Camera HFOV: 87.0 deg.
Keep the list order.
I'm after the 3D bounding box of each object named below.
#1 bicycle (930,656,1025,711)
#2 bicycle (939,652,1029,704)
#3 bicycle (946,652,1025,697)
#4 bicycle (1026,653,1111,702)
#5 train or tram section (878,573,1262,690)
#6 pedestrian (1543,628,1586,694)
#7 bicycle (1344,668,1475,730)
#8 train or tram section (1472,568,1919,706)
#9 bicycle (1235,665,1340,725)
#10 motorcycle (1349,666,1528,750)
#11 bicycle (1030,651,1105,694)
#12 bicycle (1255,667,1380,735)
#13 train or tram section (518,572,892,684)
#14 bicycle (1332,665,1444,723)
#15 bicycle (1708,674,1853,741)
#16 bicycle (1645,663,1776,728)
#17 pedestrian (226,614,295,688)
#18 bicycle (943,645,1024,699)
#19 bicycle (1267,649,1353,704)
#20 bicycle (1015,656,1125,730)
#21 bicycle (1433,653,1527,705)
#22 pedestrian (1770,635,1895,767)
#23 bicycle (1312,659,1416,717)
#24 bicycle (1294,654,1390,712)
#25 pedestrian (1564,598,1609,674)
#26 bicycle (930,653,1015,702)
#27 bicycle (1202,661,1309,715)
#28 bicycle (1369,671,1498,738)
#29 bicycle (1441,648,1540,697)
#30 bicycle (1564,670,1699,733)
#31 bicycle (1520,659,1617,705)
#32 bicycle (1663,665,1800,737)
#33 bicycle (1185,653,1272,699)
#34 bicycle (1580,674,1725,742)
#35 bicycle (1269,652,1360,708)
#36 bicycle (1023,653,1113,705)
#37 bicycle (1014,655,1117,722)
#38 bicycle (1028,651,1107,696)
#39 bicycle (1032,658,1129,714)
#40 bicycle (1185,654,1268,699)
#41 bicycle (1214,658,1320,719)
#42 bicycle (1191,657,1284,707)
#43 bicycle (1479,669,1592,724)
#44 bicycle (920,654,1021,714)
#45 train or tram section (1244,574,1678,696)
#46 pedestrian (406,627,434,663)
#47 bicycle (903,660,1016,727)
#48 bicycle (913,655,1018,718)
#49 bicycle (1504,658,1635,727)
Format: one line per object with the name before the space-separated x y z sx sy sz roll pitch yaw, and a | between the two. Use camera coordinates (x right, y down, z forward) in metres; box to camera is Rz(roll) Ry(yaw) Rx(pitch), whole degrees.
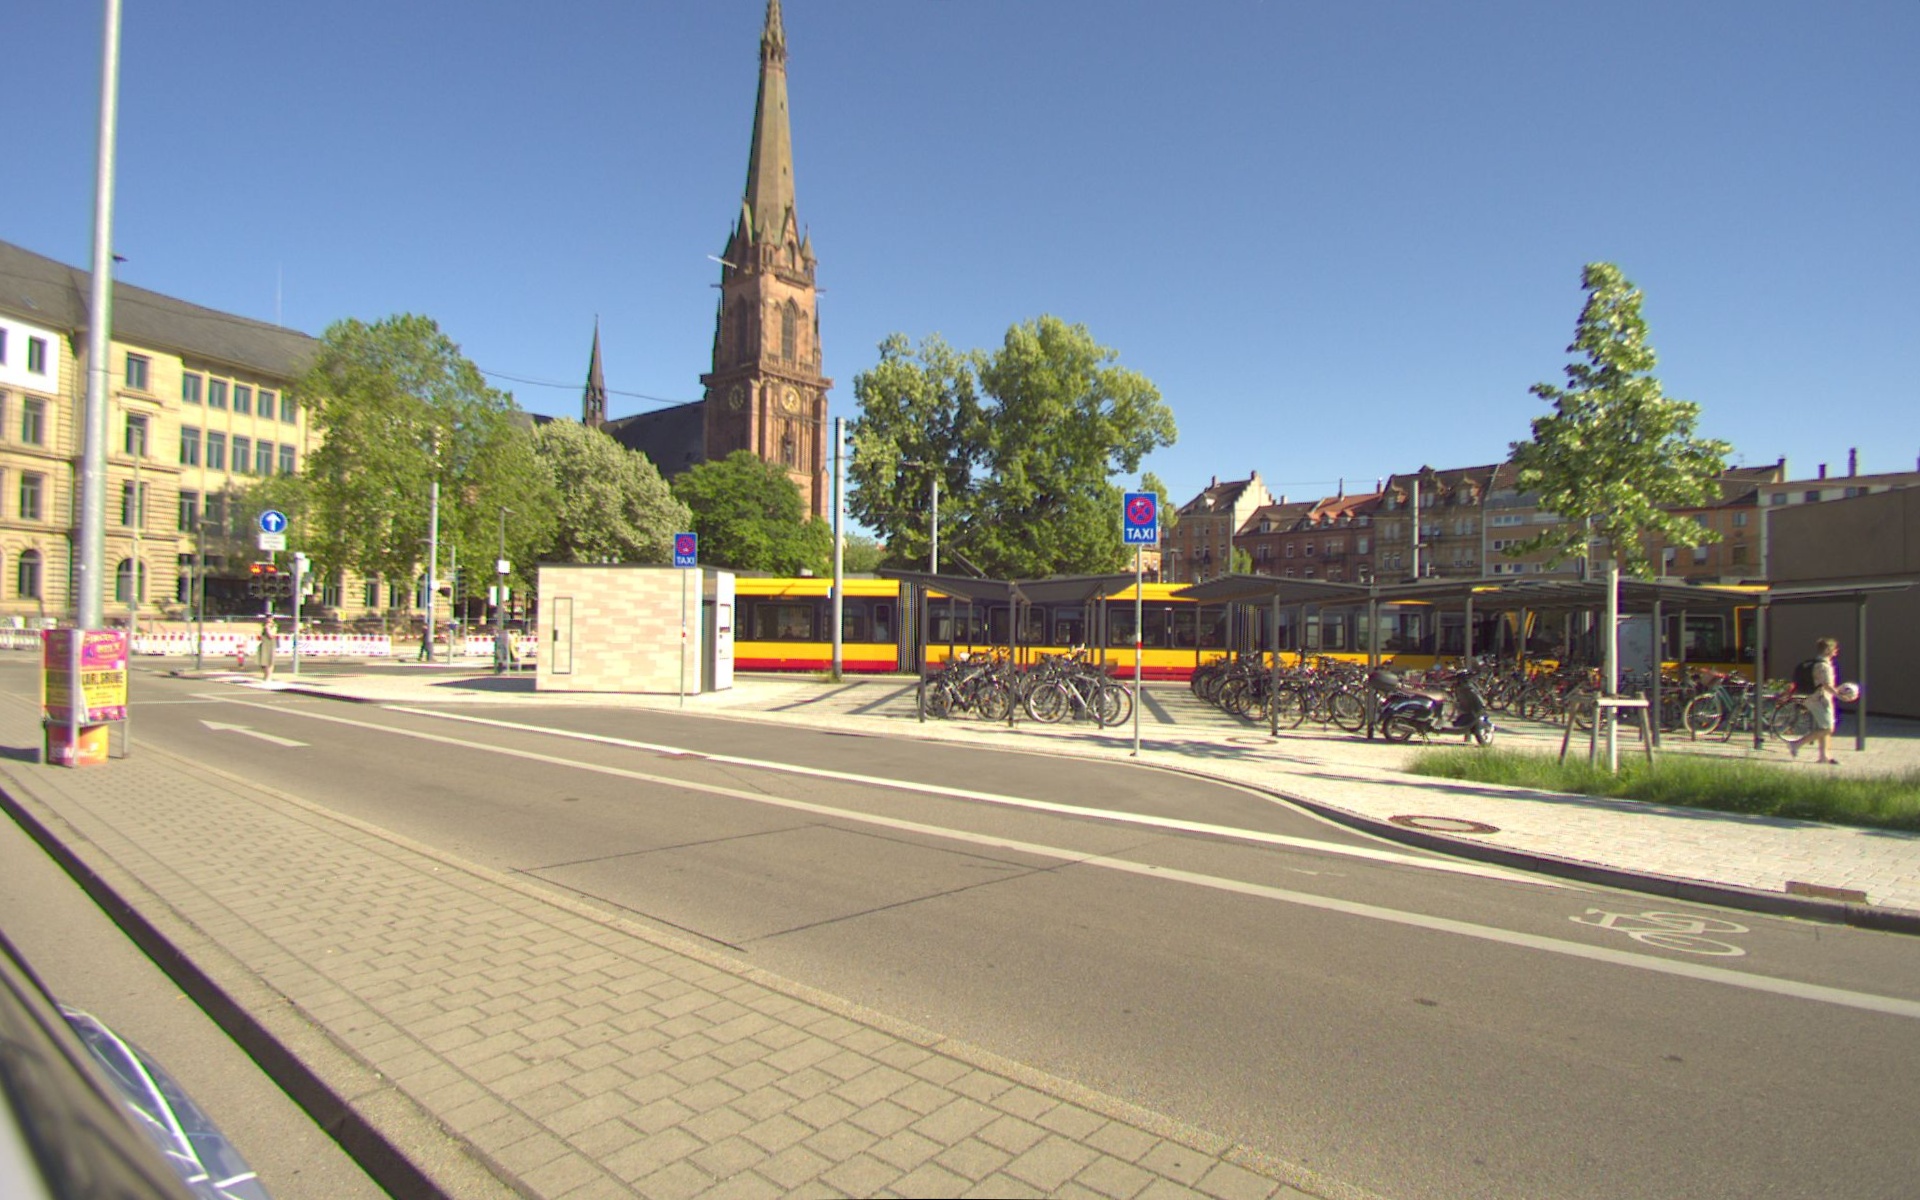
bicycle | 0.355 1.640 19.986 1.809 1.015 0.627 0 -2 9
bicycle | 0.507 1.620 21.141 1.809 1.015 0.627 0 -2 9
bicycle | 0.614 1.755 24.116 1.809 1.015 0.627 0 -2 9
bicycle | 2.371 1.692 22.124 1.808 1.015 0.627 0 -2 7
train or tram section | 3.524 1.002 33.773 12.174 3.628 2.796 0 -2 6
pedestrian | 15.689 1.568 26.279 0.762 1.672 0.604 0 -2 4
bicycle | 7.913 1.735 17.878 2.003 1.015 0.627 0 -2 7
train or tram section | 21.508 1.000 28.690 12.179 3.628 2.748 0 -2 7
bicycle | 5.847 1.690 18.133 1.731 1.015 0.547 0 -2 10
motorcycle | 7.162 1.608 15.235 2.333 1.167 0.610 0 -2 7
bicycle | 2.626 1.763 24.810 1.808 1.015 0.627 0 -2 7
bicycle | 5.971 1.681 16.980 1.871 1.050 0.688 0 -2 9
train or tram section | -8.686 0.941 35.059 12.382 3.628 2.796 0 -2 6
bicycle | 7.994 1.753 18.972 1.808 1.015 0.627 0 -2 7
bicycle | 13.014 1.700 16.078 1.803 1.015 0.629 1 -2 -3
bicycle | 13.584 1.721 18.361 1.808 1.101 0.627 0 -2 7
pedestrian | -18.256 1.324 26.436 0.821 1.869 1.221 0 -2 20
bicycle | 0.556 1.652 23.416 1.809 1.188 0.627 0 -2 9
bicycle | 8.230 1.790 23.877 1.808 1.242 0.627 0 -2 7
bicycle | 1.859 1.560 17.135 1.808 1.167 0.627 1 -2 7
bicycle | 11.995 1.819 23.404 1.809 1.140 0.627 0 -2 9
pedestrian | 11.924 1.346 13.874 1.016 1.718 0.834 0 -2 18
bicycle | 8.068 1.752 20.263 1.808 1.088 0.627 0 -2 7
bicycle | 8.105 1.751 21.529 1.808 1.170 0.627 0 -2 7
pedestrian | 15.738 0.905 25.419 0.700 1.869 0.751 2 -2 -38
bicycle | 0.283 1.695 22.172 1.809 1.015 0.627 0 -2 9
bicycle | 5.943 1.765 20.432 1.978 1.015 0.628 0 -2 4
bicycle | 7.762 1.709 16.652 1.808 1.015 0.627 0 -2 7
bicycle | 11.681 1.582 22.308 1.809 1.015 0.627 0 -2 9
bicycle | 11.597 1.747 17.527 1.872 1.004 0.499 0 -2 13
bicycle | 14.047 1.886 23.407 1.808 1.015 0.627 0 -2 7
bicycle | 12.985 1.693 17.066 1.805 1.155 0.629 0 -2 0
bicycle | 6.115 1.726 23.112 1.807 1.015 0.628 0 -2 5
bicycle | 11.153 1.727 16.350 1.809 1.015 0.627 0 -2 9
bicycle | 7.922 1.772 22.680 1.808 1.198 0.647 0 -2 7
bicycle | 2.223 1.614 20.850 1.808 1.015 0.627 0 -2 7
bicycle | 1.903 1.582 18.277 1.808 1.157 0.627 0 -2 7
bicycle | 2.504 1.707 23.610 1.808 1.015 0.627 0 -2 7
bicycle | 2.315 1.640 19.542 1.808 1.015 0.745 0 -2 7
bicycle | 6.245 1.790 23.800 1.808 1.015 0.627 0 -2 6
bicycle | 5.870 1.687 19.411 1.859 1.101 0.626 0 -2 8
bicycle | 5.963 1.762 21.807 1.805 1.015 0.629 0 -2 0
bicycle | 11.256 1.878 19.842 1.809 1.015 0.627 0 -2 9
bicycle | 0.207 1.548 18.766 1.809 1.059 0.571 0 -2 9
train or tram section | 15.644 1.083 32.494 12.174 3.628 2.828 0 -2 6
pedestrian | -26.448 2.195 49.577 0.923 1.754 0.805 0 -2 5
bicycle | 0.000 1.588 17.375 1.847 1.015 0.699 2 -2 9
bicycle | 0.110 1.542 18.238 1.809 1.074 0.627 0 -2 9
bicycle | 11.291 1.708 18.802 2.029 1.218 0.505 0 -2 8
